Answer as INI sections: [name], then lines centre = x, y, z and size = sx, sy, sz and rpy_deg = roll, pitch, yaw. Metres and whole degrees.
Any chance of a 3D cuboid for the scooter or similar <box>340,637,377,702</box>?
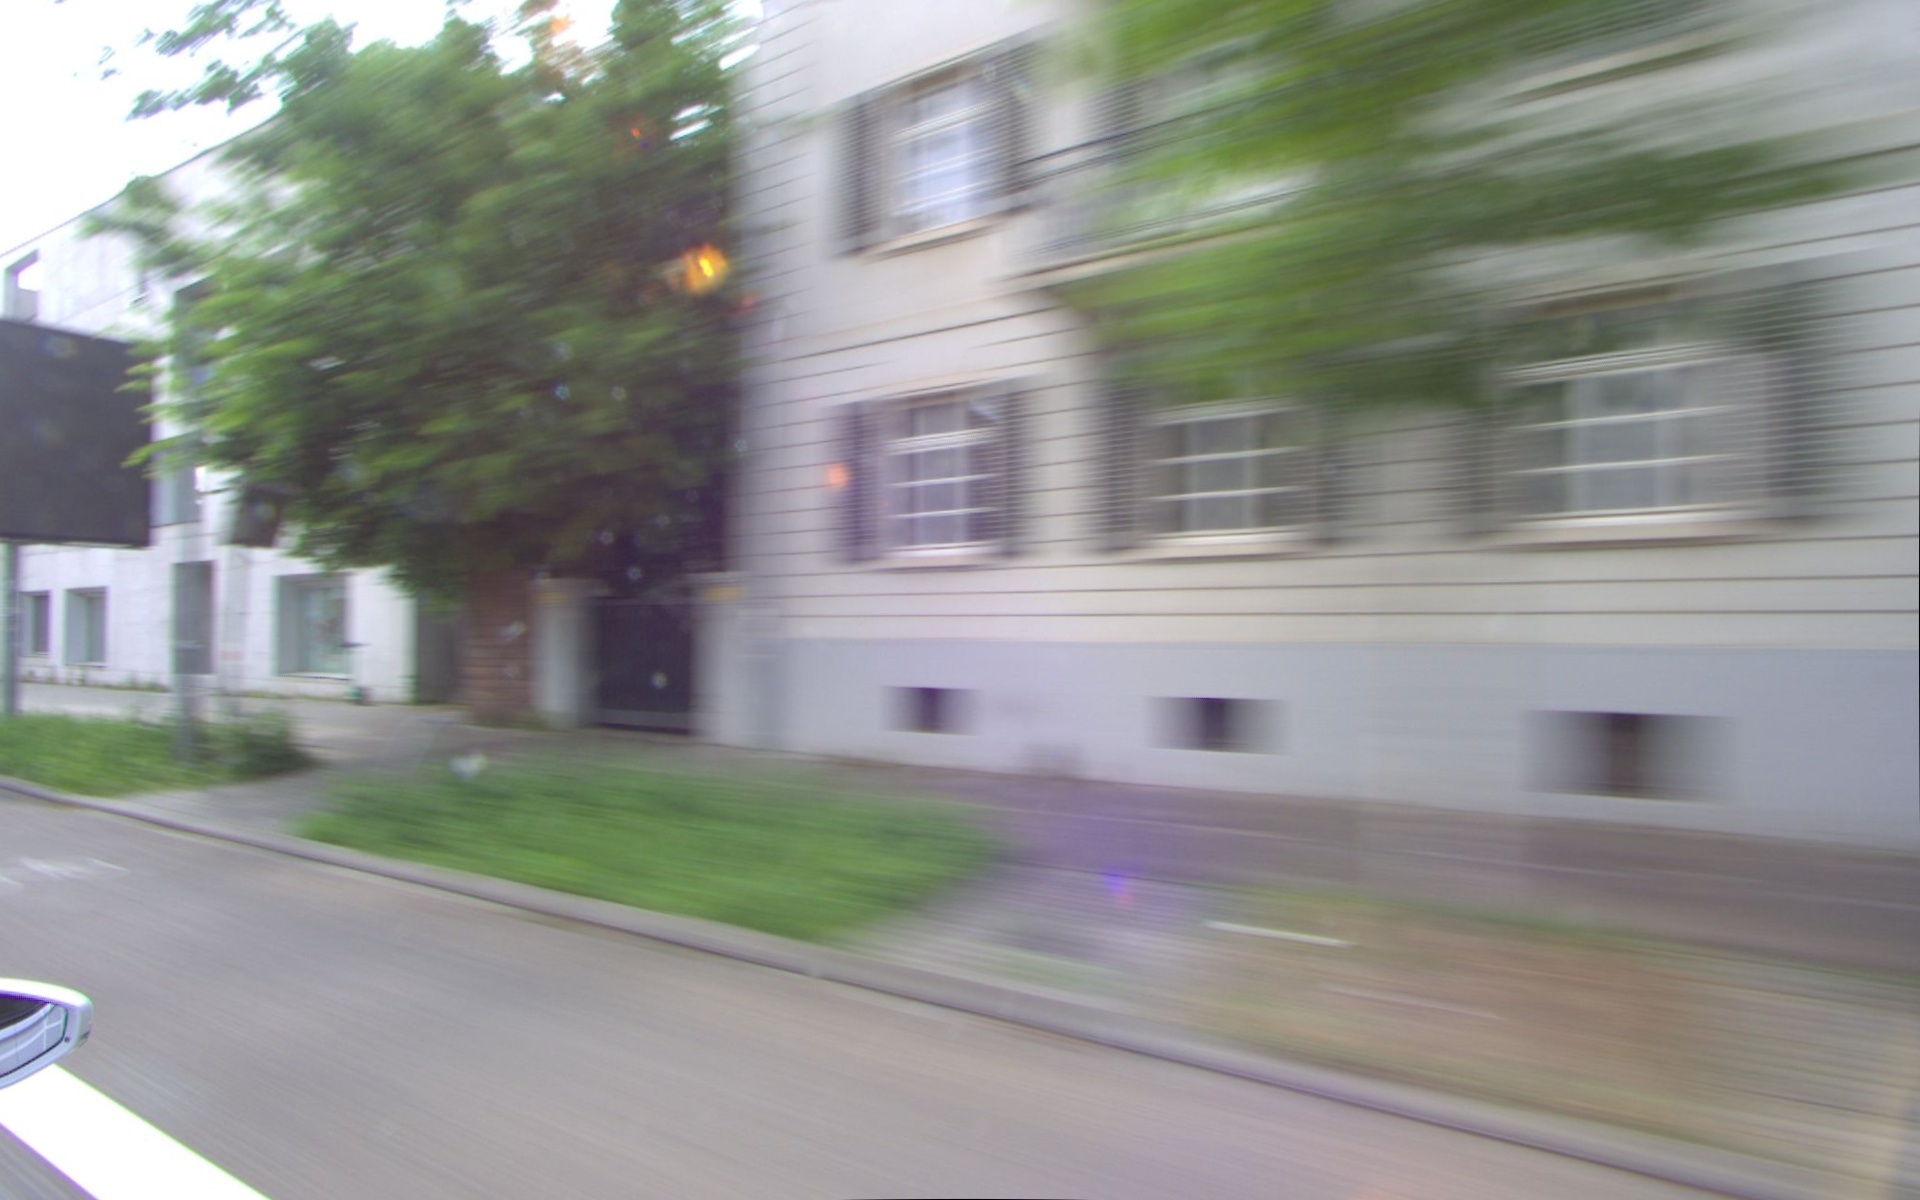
[scooter or similar]
centre = -11.371, 1.294, 18.922
size = 0.320, 1.196, 1.136
rpy_deg = 1, -2, -45
